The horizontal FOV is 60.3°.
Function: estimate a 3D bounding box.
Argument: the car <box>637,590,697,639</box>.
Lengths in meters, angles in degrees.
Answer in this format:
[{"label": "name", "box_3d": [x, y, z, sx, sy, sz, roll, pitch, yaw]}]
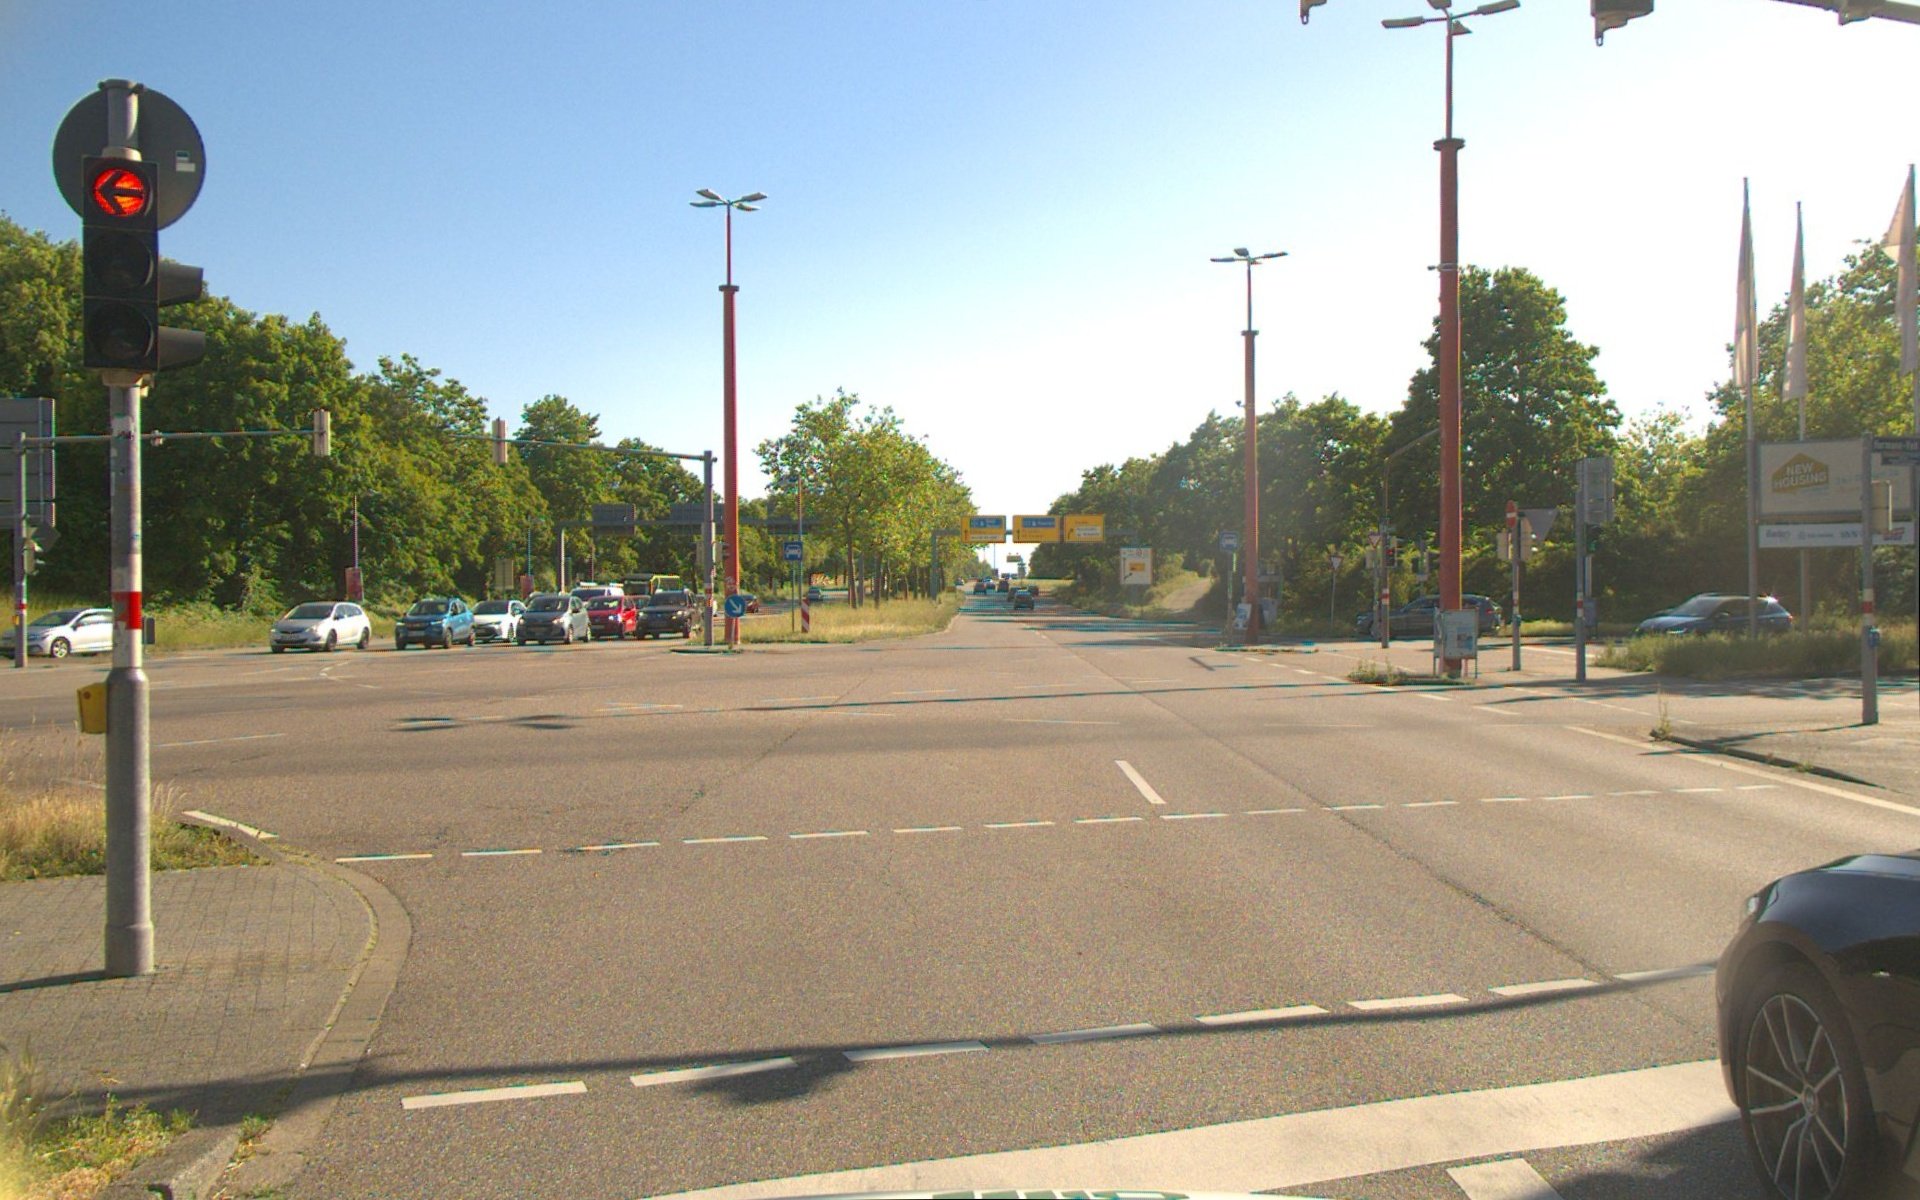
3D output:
[{"label": "car", "box_3d": [-9.876, 0.473, 55.987, 1.841, 1.601, 4.113, 0, 0, -8]}]

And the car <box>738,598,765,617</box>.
[{"label": "car", "box_3d": [-17.108, 0.627, 135.874, 1.784, 1.480, 3.656, 0, 0, 0]}]

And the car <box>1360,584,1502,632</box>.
[{"label": "car", "box_3d": [16.464, 0.283, 57.783, 4.478, 1.601, 2.164, 0, 0, 26]}]

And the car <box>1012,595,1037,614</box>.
[{"label": "car", "box_3d": [5.718, 0.372, 146.579, 2.114, 1.601, 4.281, 0, 0, 1]}]

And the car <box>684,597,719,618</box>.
[{"label": "car", "box_3d": [-18.243, 0.526, 116.867, 1.846, 1.480, 3.656, 0, 0, 0]}]

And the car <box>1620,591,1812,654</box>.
[{"label": "car", "box_3d": [18.667, 0.531, 40.867, 4.202, 1.453, 1.874, 0, 0, -19]}]

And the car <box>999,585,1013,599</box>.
[{"label": "car", "box_3d": [6.920, -1.218, 250.136, 1.953, 2.049, 3.999, 0, 0, -1]}]

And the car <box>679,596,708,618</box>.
[{"label": "car", "box_3d": [-20.066, 0.533, 124.830, 1.840, 1.601, 4.116, 0, 0, -5]}]

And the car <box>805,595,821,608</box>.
[{"label": "car", "box_3d": [-17.477, 0.186, 196.277, 1.840, 1.601, 3.943, 0, 0, -5]}]

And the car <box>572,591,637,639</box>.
[{"label": "car", "box_3d": [-12.480, 0.509, 58.267, 1.956, 1.601, 4.113, 0, 0, -8]}]

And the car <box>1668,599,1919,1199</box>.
[{"label": "car", "box_3d": [2.972, 0.712, 2.357, 1.953, 1.419, 4.476, 0, 0, -1]}]

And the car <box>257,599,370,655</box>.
[{"label": "car", "box_3d": [-19.588, 0.786, 50.294, 1.954, 1.601, 4.118, 0, 0, -3]}]

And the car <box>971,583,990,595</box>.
[{"label": "car", "box_3d": [2.866, -1.578, 234.170, 2.202, 1.601, 4.276, 0, 0, -5]}]

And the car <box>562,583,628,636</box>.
[{"label": "car", "box_3d": [-15.673, 0.389, 71.261, 2.021, 2.231, 4.376, 0, 0, -3]}]

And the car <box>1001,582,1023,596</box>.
[{"label": "car", "box_3d": [5.978, -1.288, 190.113, 2.116, 1.601, 4.277, 0, 0, -4]}]

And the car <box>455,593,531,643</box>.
[{"label": "car", "box_3d": [-15.992, 0.598, 56.780, 1.956, 1.601, 4.113, -1, 0, -8]}]

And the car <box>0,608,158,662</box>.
[{"label": "car", "box_3d": [-25.987, 1.001, 48.910, 1.755, 1.478, 4.224, 0, 0, 15]}]

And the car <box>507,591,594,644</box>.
[{"label": "car", "box_3d": [-12.806, 0.523, 51.961, 1.954, 1.601, 4.118, 0, 0, -4]}]

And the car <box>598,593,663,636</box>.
[{"label": "car", "box_3d": [-12.713, 0.530, 64.043, 1.954, 1.601, 4.117, 0, 0, -4]}]

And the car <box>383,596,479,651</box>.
[{"label": "car", "box_3d": [-16.210, 0.683, 50.887, 1.955, 1.601, 4.116, 0, 0, -5]}]
